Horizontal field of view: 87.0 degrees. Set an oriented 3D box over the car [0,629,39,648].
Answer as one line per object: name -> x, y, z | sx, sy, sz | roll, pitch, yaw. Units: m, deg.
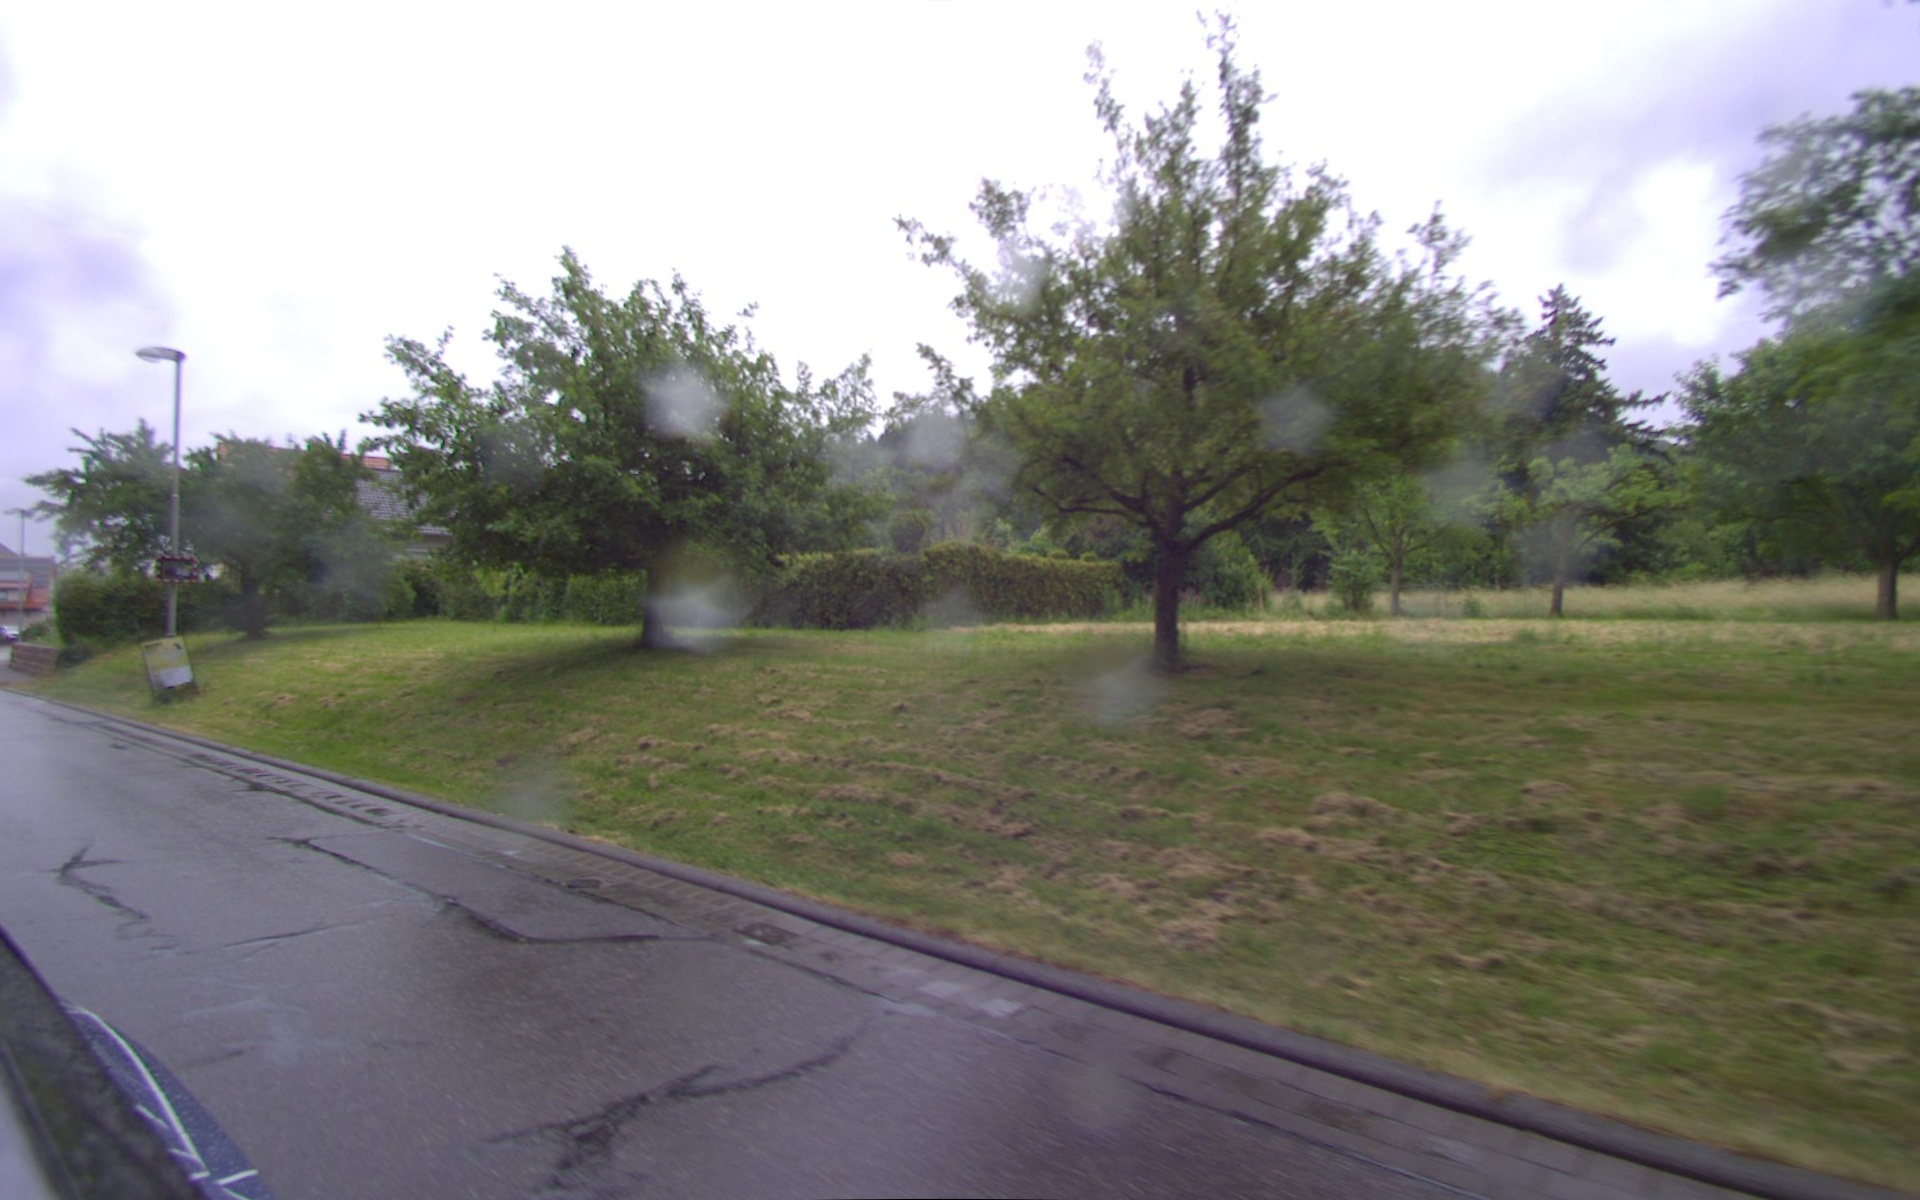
car -> -85.392, 3.468, 91.585 | 3.872, 1.587, 1.874 | -2, 0, 28
